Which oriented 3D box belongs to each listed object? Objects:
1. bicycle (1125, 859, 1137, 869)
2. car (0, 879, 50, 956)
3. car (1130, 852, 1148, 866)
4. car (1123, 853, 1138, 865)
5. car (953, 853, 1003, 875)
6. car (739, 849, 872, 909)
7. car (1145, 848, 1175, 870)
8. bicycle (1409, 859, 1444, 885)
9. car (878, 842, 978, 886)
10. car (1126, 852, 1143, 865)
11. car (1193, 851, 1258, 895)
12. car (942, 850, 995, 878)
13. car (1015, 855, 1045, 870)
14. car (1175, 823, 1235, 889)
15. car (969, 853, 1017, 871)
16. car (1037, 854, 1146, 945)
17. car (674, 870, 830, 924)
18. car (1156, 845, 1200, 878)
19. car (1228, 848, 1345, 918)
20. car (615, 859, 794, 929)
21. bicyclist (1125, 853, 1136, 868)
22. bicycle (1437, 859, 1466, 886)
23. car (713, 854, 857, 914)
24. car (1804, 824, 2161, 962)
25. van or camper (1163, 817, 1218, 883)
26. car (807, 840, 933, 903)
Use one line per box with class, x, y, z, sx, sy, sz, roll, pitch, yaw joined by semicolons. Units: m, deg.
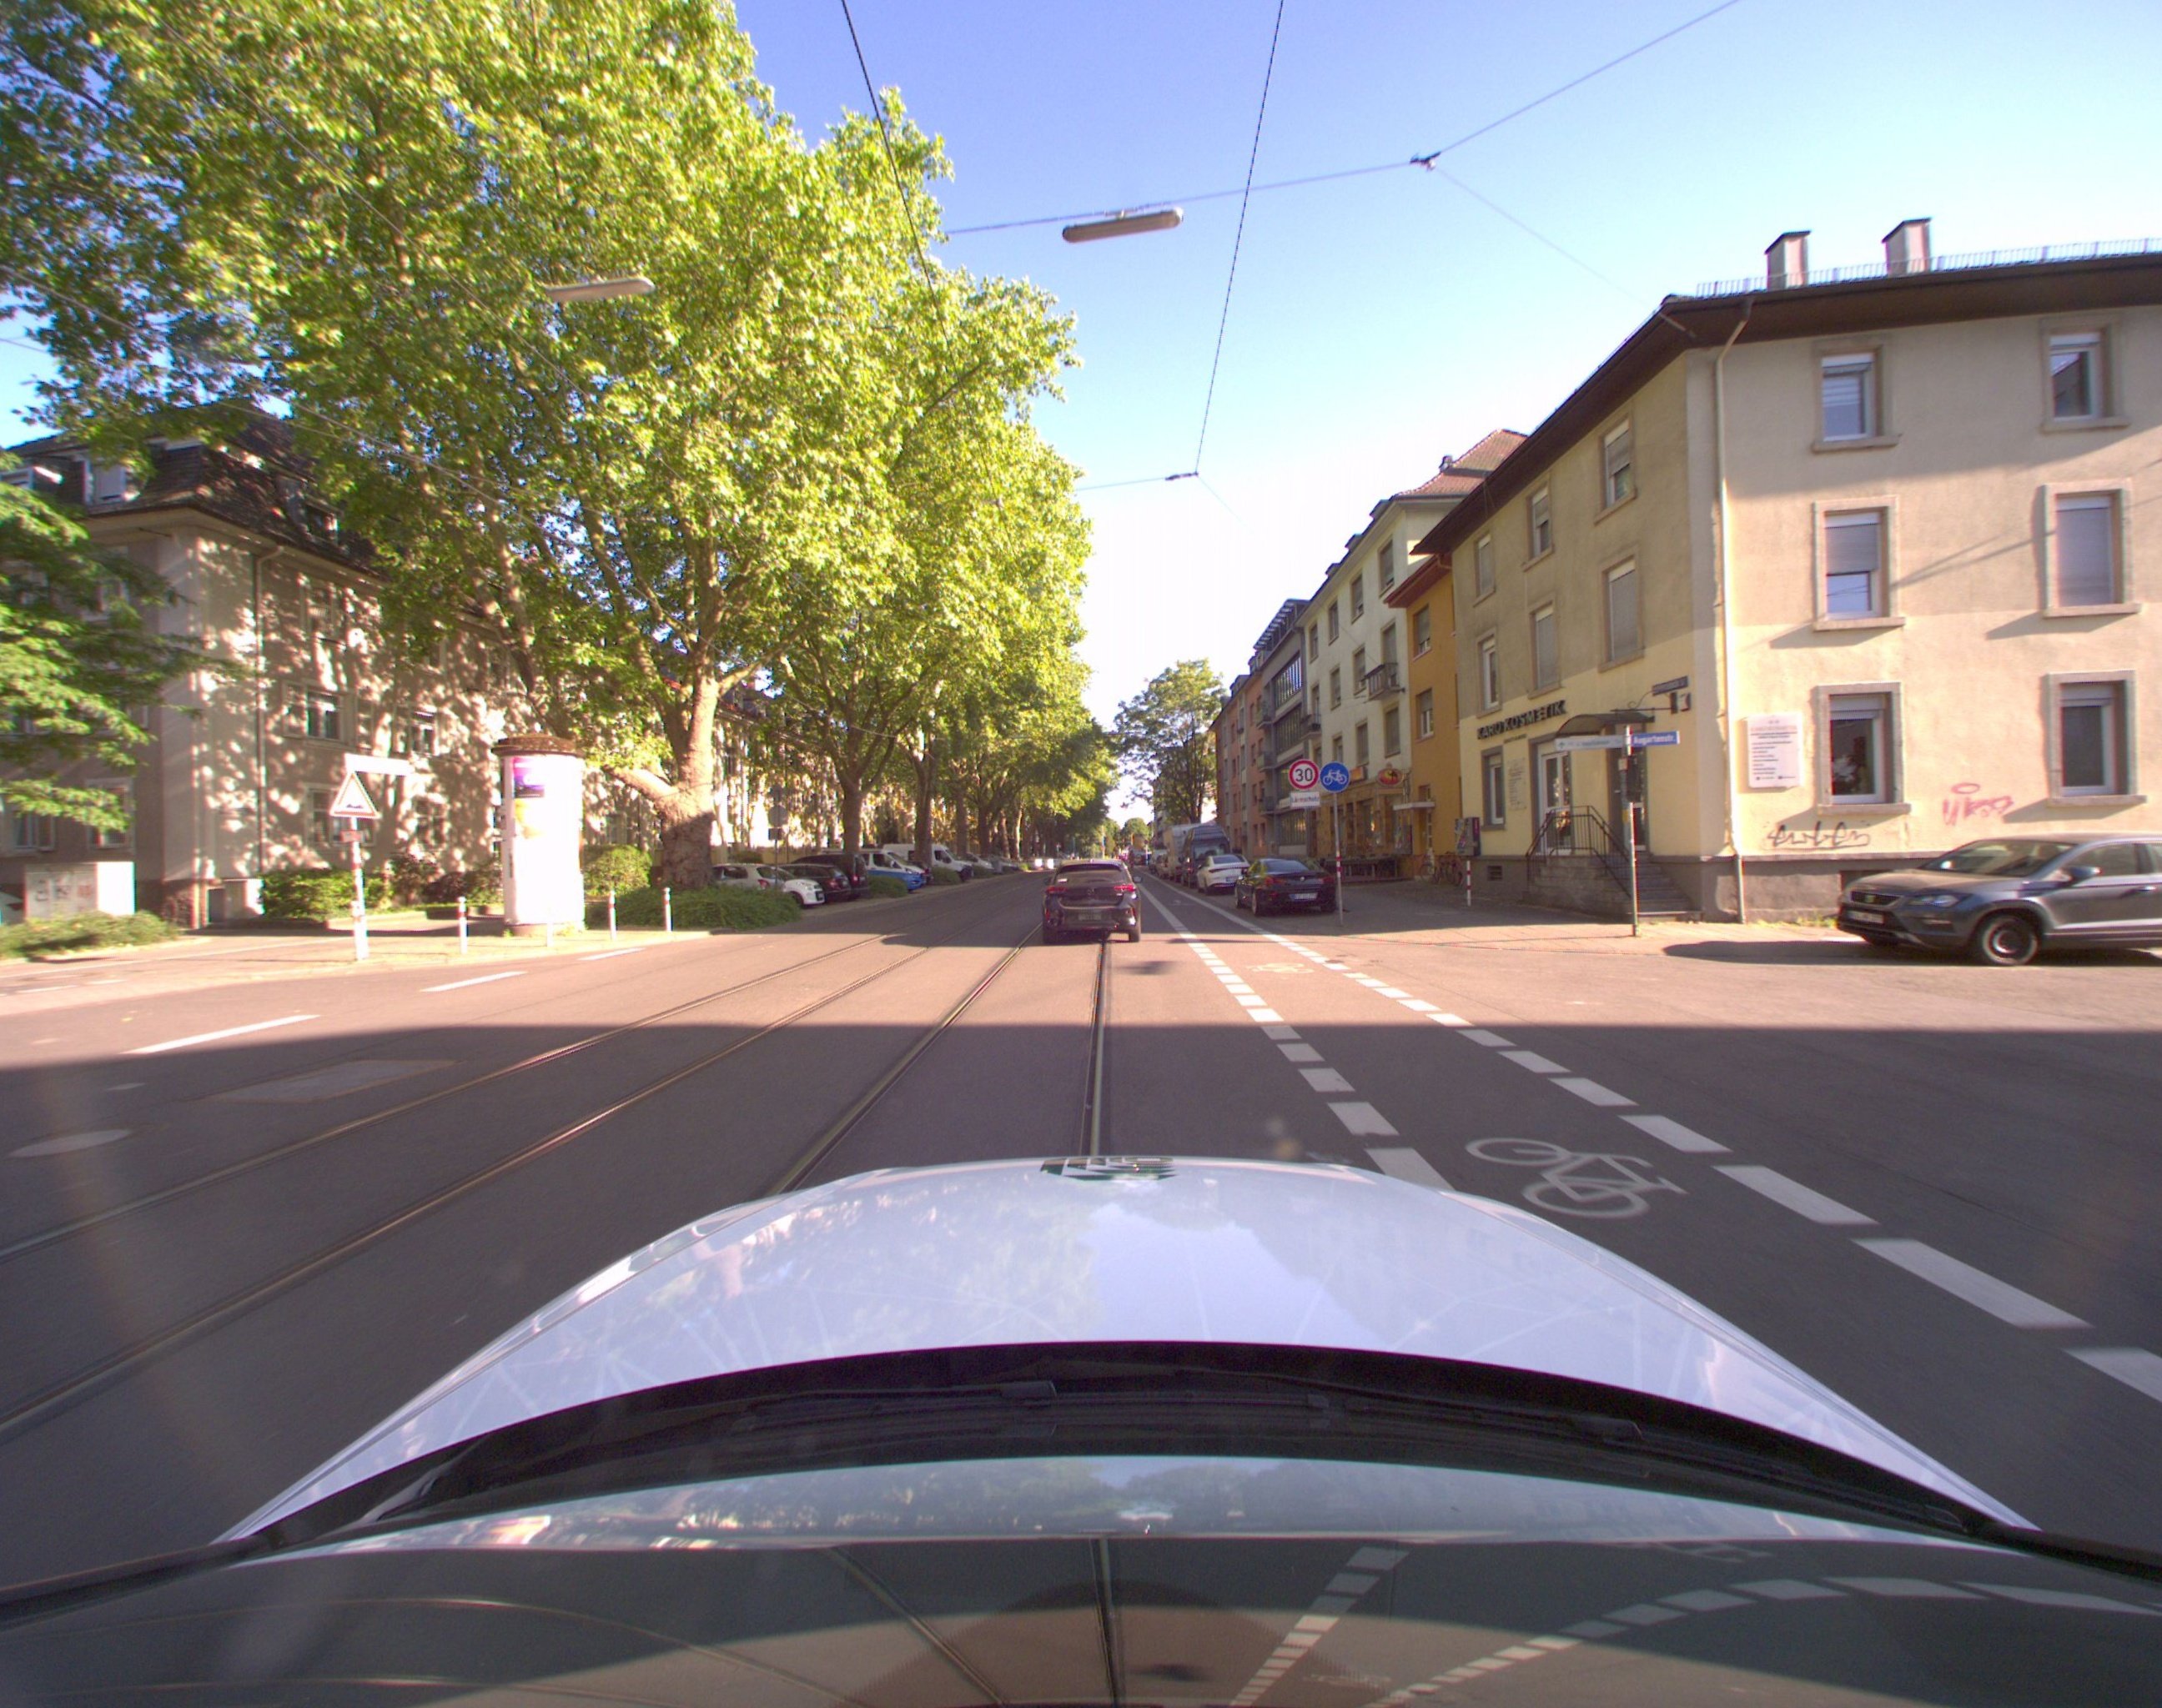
bicycle;4.826;0.974;78.888;0.964;0.999;2.583;-1;0;1
car;-24.044;1.362;15.734;1.843;1.592;4.756;-1;0;12
car;8.116;0.669;114.542;2.245;1.840;5.533;-3;0;2
car;8.042;0.748;133.894;2.245;1.840;5.533;-3;0;2
car;-8.978;0.849;71.142;4.172;1.794;1.995;-1;0;-7
car;-10.347;0.923;30.845;4.294;1.840;1.779;-5;-1;-6
car;6.984;0.437;72.677;2.245;1.840;5.533;-3;0;2
bicycle;11.048;0.562;26.070;0.408;0.789;1.792;-1;0;2
car;-9.407;0.607;50.250;5.611;2.593;2.199;-1;0;5
car;8.133;0.694;124.372;2.245;1.840;5.533;-3;0;2
car;5.346;0.704;30.526;1.796;1.434;4.001;-3;-1;2
car;-8.723;0.765;63.387;3.983;2.014;1.995;-1;0;-7
car;-7.025;1.205;112.805;3.971;2.014;2.001;-1;0;2
car;5.649;0.063;37.732;2.077;2.772;4.700;-3;0;2
car;-8.282;0.743;76.549;4.350;1.665;1.995;-1;0;-7
car;0.254;0.755;15.313;1.756;1.460;3.952;-1;0;2
car;-10.590;1.365;26.483;4.294;1.290;1.707;-5;0;-6
car;6.061;0.449;51.493;2.245;1.840;5.533;-3;0;2
car;4.990;0.654;20.432;1.877;1.434;4.532;-4;0;2
car;-10.958;1.142;23.944;4.294;1.593;1.779;-5;-1;-6
bicyclist;4.814;0.638;78.870;0.955;1.499;1.094;-1;0;0
bicycle;11.285;0.553;24.867;0.471;0.789;1.798;-1;0;14
car;-10.264;1.023;28.511;4.294;1.674;1.779;-5;-1;-6
car;12.352;0.453;10.547;4.167;1.598;1.893;-1;0;5
van or camper;5.864;-0.191;44.298;2.245;3.216;5.533;-3;0;2
car;-9.647;0.804;37.529;5.017;2.374;2.082;-5;-1;2
